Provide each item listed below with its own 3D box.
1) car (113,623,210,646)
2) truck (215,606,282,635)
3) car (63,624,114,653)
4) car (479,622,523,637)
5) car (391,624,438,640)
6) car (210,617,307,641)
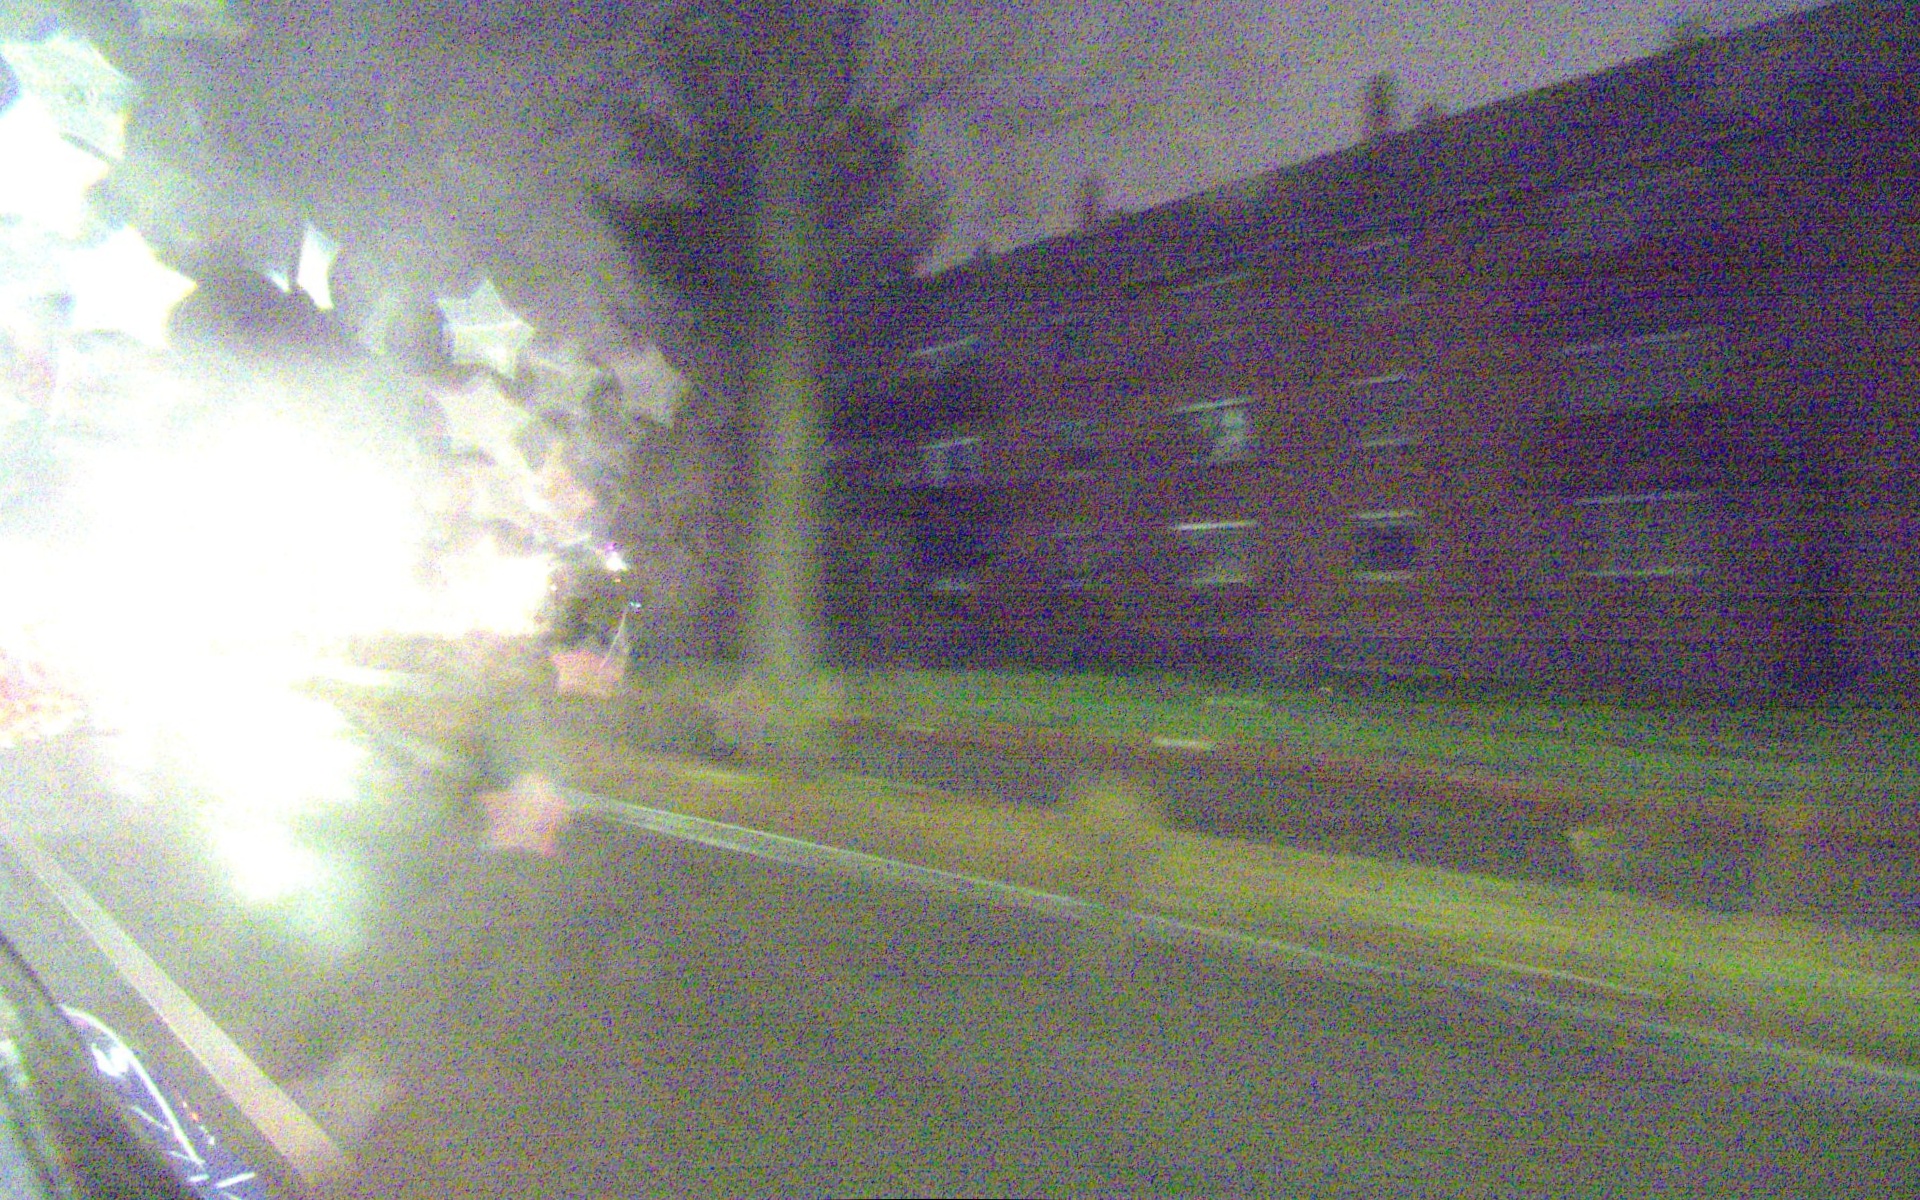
[{"bbox_3d":[-55.577,2.378,70.575,1.984,1.477,5.068,-1,-1,18],"label":"car"},{"bbox_3d":[-62.248,1.795,88.754,2.283,2.415,7.835,0,-1,-15],"label":"truck"},{"bbox_3d":[-48.375,2.110,56.154,1.969,1.466,4.309,5,-4,-41],"label":"car"},{"bbox_3d":[-50.723,3.294,111.946,4.354,1.634,2.007,1,-1,-25],"label":"car"},{"bbox_3d":[-59.295,3.507,110.149,4.354,1.634,2.006,0,-1,-25],"label":"car"},{"bbox_3d":[-56.962,2.306,82.387,1.988,1.829,6.389,0,-1,24],"label":"car"}]
